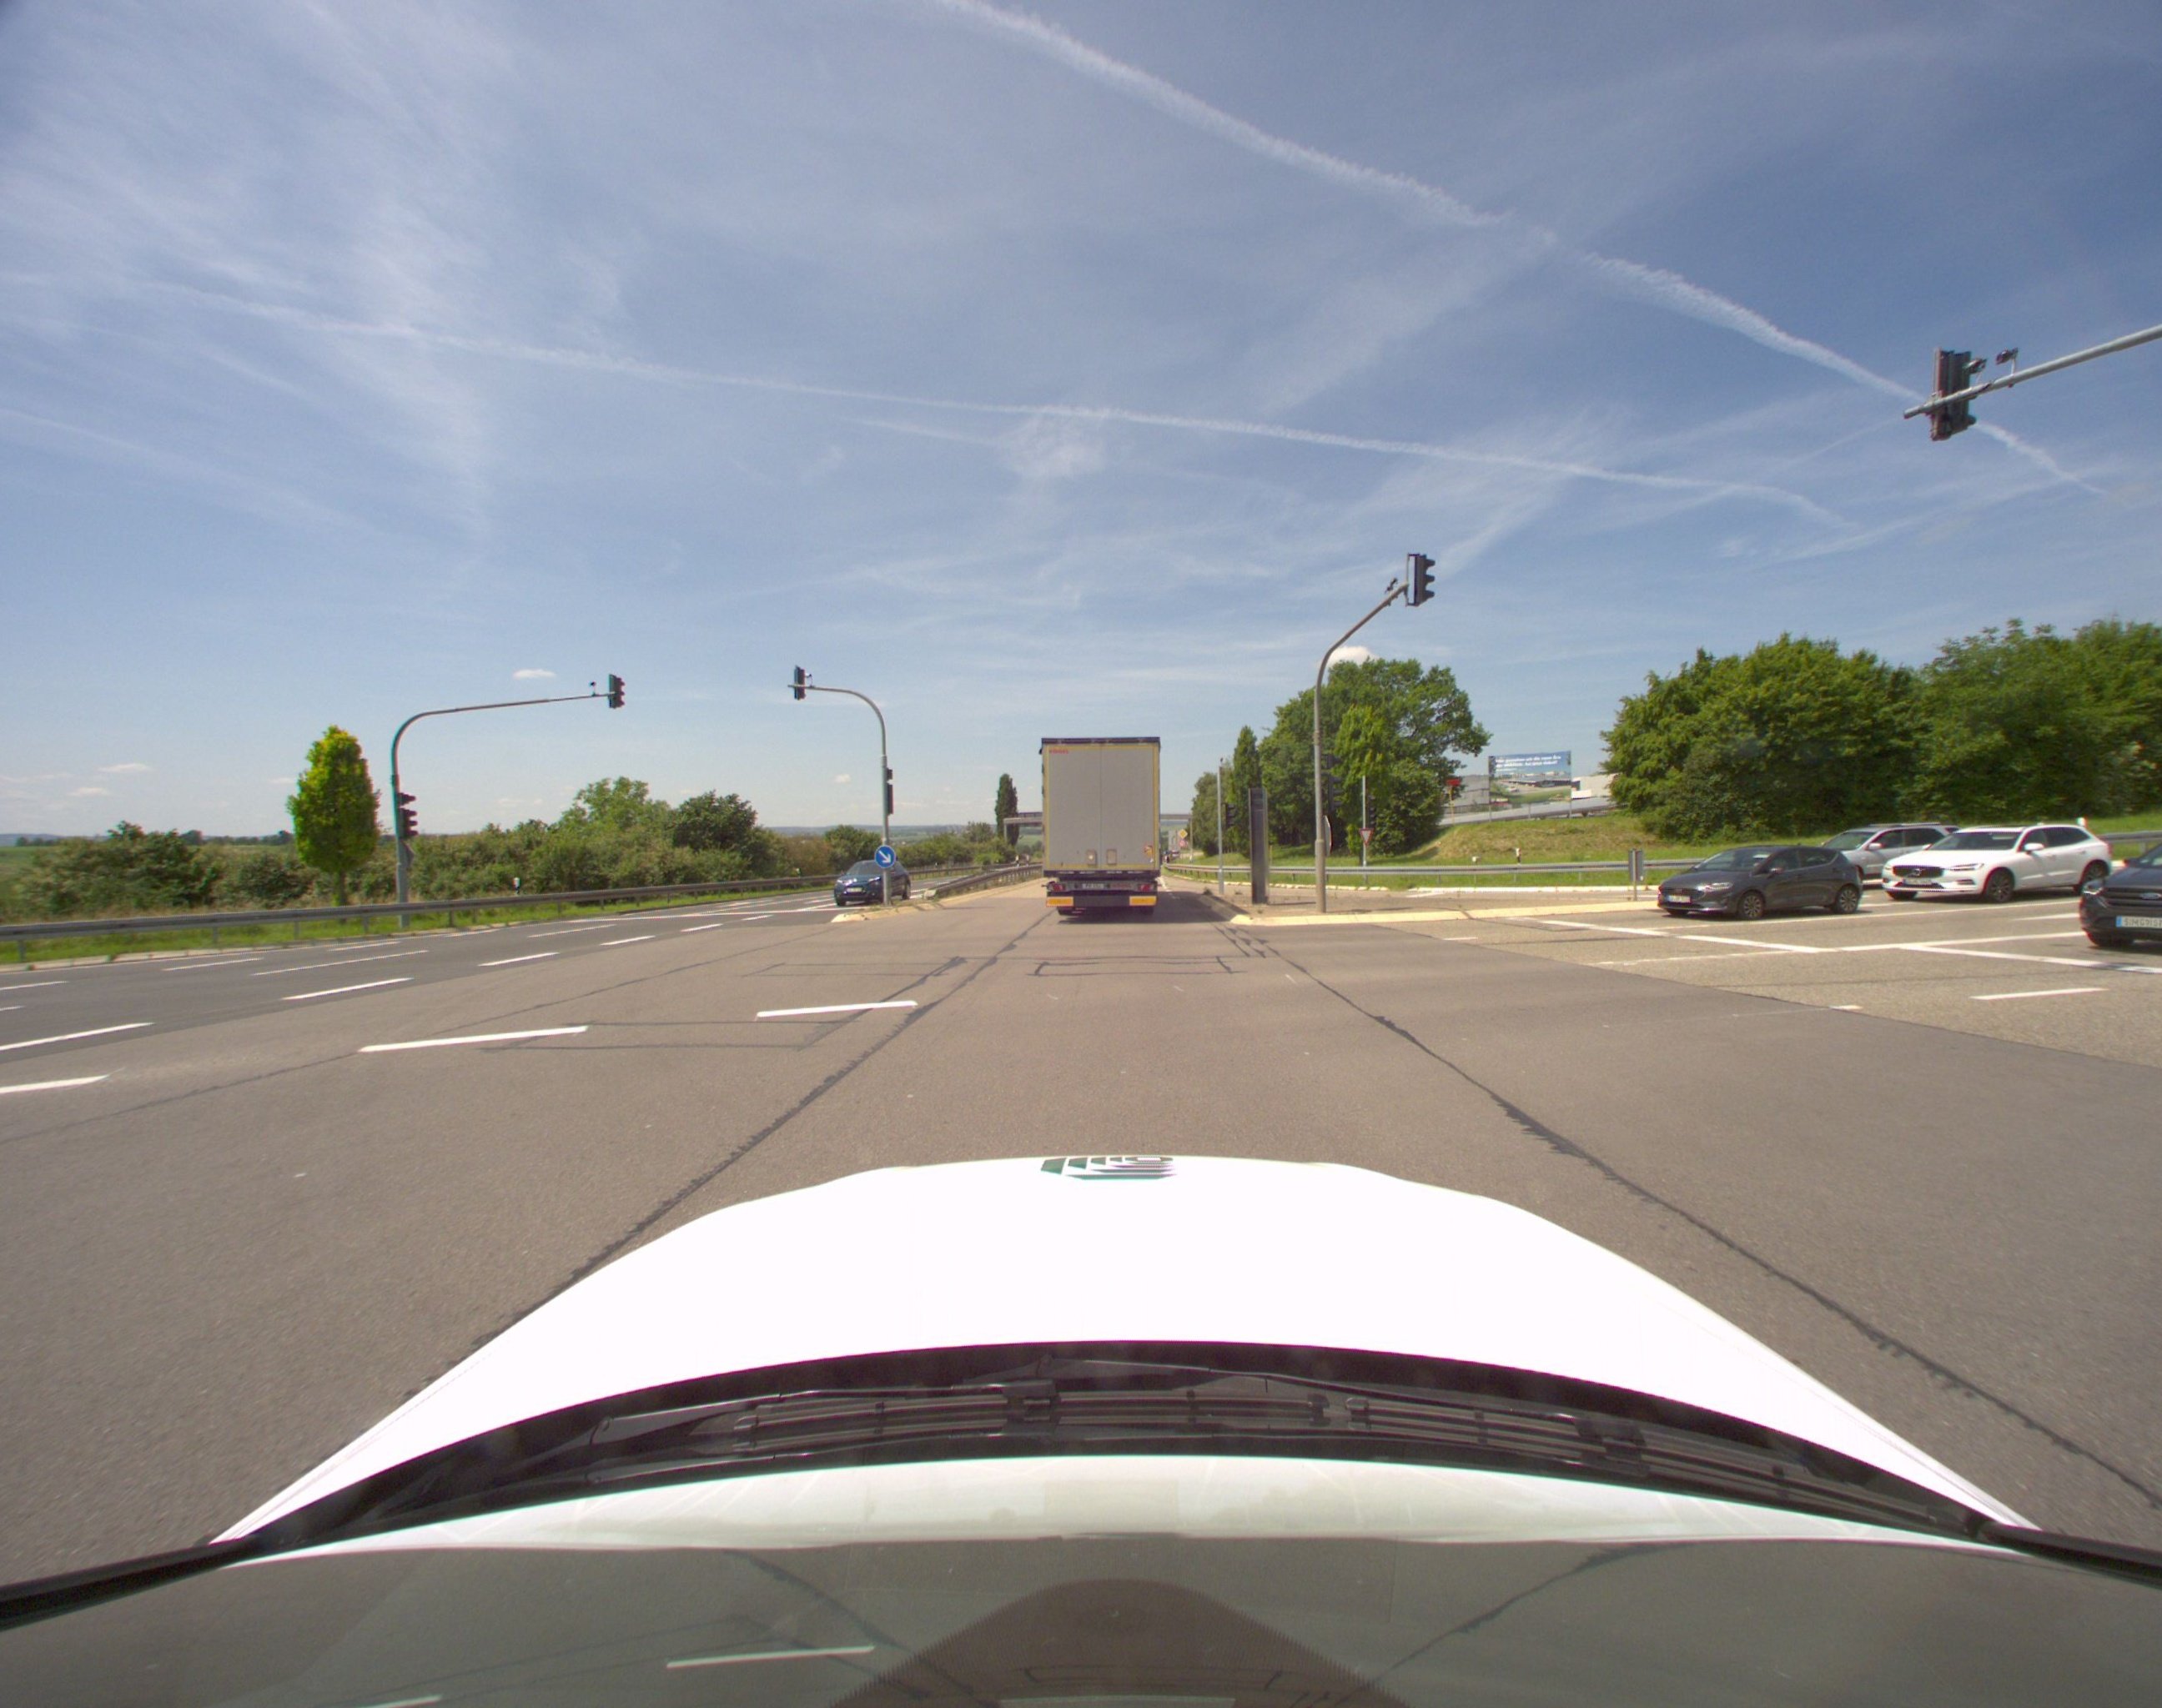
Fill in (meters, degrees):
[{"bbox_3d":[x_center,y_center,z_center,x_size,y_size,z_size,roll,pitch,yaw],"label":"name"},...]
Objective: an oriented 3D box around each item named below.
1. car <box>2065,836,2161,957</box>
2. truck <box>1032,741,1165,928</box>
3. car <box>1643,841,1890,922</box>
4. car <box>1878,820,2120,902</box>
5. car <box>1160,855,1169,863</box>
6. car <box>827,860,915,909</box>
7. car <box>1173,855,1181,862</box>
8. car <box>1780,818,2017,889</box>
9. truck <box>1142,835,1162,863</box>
[{"bbox_3d":[15.770,0.488,10.784,4.362,1.510,1.709,-1,0,-13],"label":"car"},{"bbox_3d":[0.382,-0.418,22.925,2.790,3.929,11.340,0,0,0],"label":"truck"},{"bbox_3d":[14.222,0.544,16.991,3.984,1.511,1.711,-1,-1,-8],"label":"car"},{"bbox_3d":[20.960,0.135,18.652,4.362,1.592,1.772,-3,0,-13],"label":"car"},{"bbox_3d":[17.147,0.979,167.322,1.777,1.688,4.006,0,-1,6],"label":"car"},{"bbox_3d":[-7.229,0.998,28.446,1.748,1.469,4.199,-2,0,3],"label":"car"},{"bbox_3d":[21.918,1.079,186.039,1.777,1.688,4.006,0,-1,6],"label":"car"},{"bbox_3d":[22.293,-0.001,22.380,4.335,1.655,1.840,-3,-1,7],"label":"car"},{"bbox_3d":[10.068,-0.646,115.013,2.642,3.765,10.179,0,-1,6],"label":"truck"}]
